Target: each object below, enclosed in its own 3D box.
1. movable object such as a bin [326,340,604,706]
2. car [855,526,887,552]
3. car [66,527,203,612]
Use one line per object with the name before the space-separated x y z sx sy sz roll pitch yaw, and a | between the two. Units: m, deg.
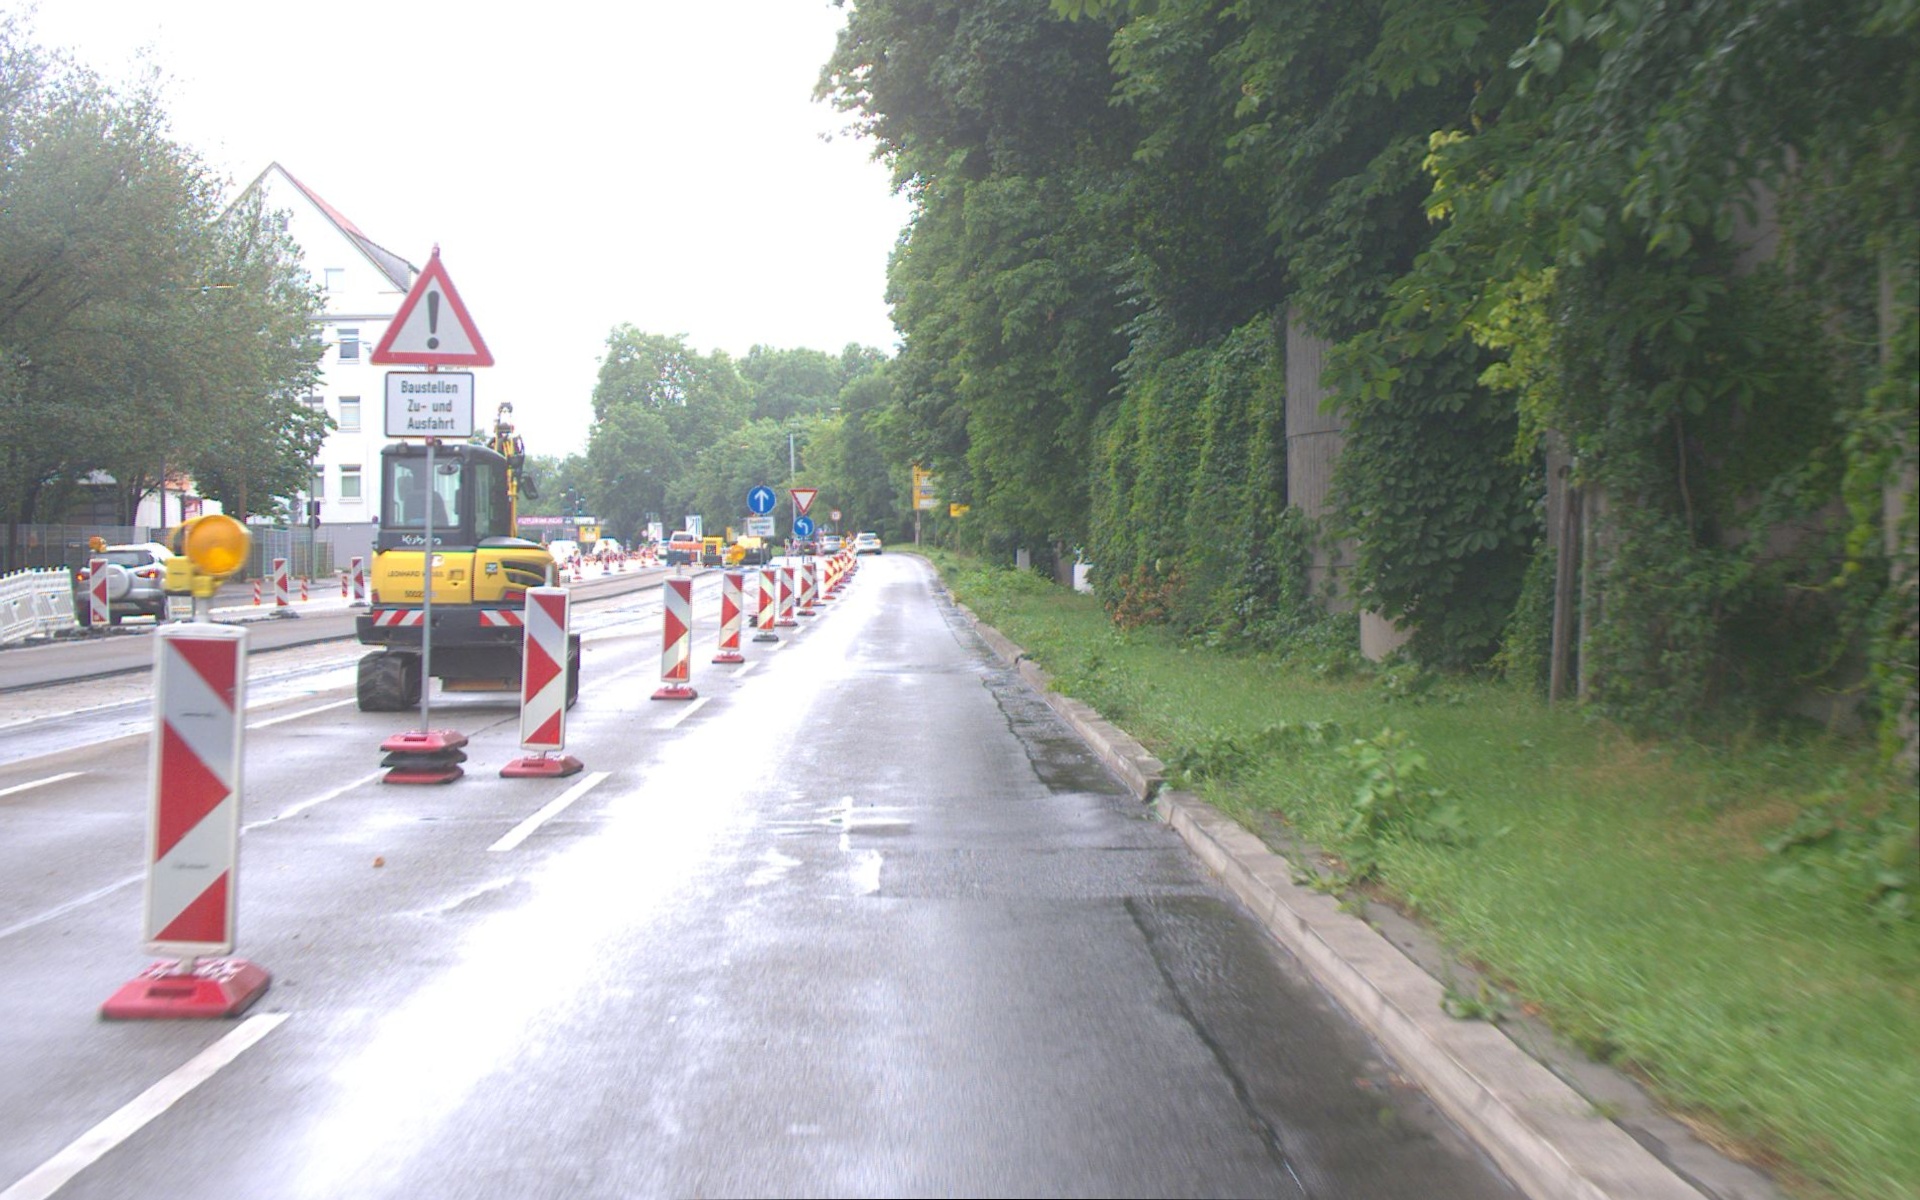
movable object such as a bin | -4.867 -0.743 34.664 1.993 3.356 5.982 0 1 -1
car | -5.840 -4.011 225.466 1.993 1.667 4.000 0 1 -1
car | -16.663 -0.621 69.564 1.854 1.642 4.000 0 1 -1
